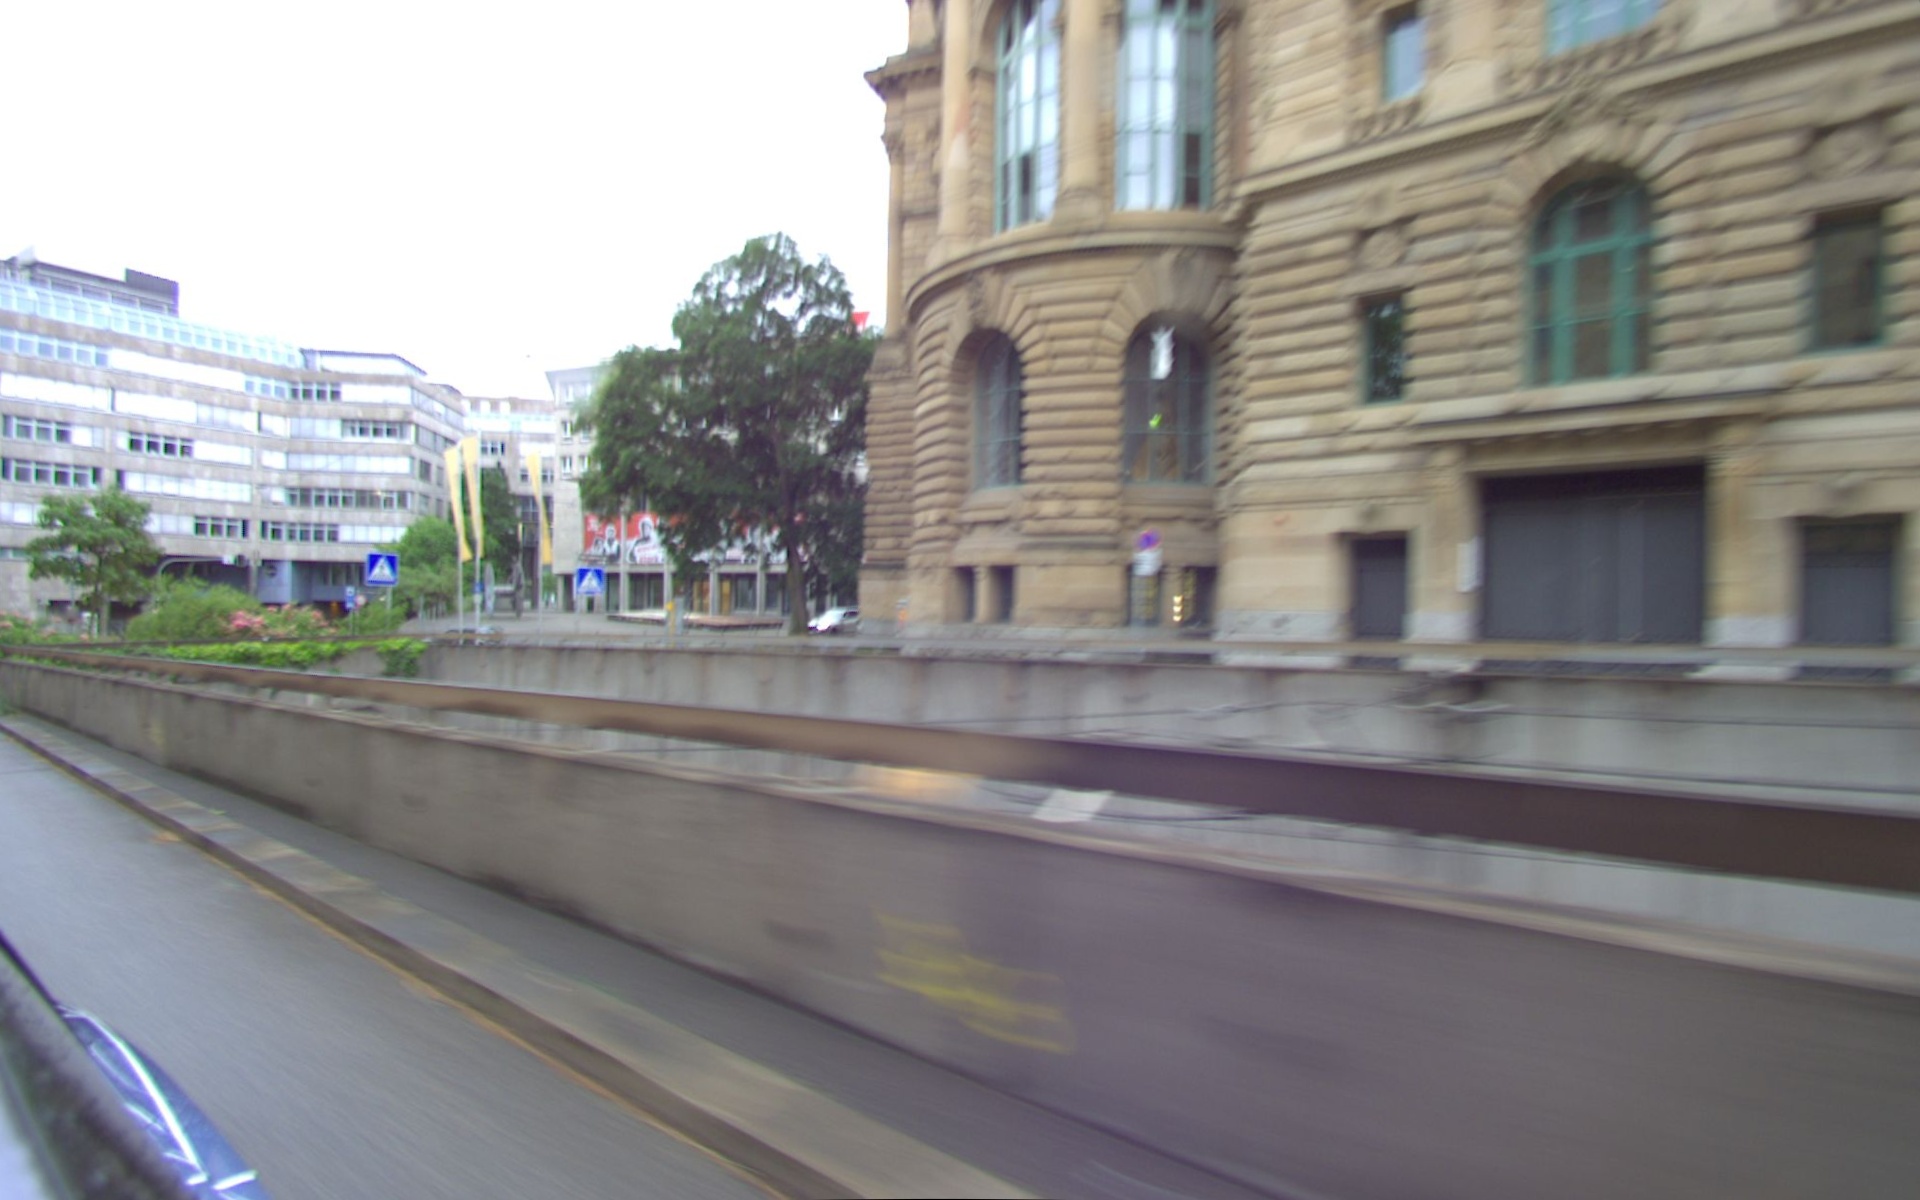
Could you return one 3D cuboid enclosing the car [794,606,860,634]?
[{"bbox_3d":[-7.764,1.139,59.377,1.987,1.568,4.181,-1,-1,23],"label":"car"}]
